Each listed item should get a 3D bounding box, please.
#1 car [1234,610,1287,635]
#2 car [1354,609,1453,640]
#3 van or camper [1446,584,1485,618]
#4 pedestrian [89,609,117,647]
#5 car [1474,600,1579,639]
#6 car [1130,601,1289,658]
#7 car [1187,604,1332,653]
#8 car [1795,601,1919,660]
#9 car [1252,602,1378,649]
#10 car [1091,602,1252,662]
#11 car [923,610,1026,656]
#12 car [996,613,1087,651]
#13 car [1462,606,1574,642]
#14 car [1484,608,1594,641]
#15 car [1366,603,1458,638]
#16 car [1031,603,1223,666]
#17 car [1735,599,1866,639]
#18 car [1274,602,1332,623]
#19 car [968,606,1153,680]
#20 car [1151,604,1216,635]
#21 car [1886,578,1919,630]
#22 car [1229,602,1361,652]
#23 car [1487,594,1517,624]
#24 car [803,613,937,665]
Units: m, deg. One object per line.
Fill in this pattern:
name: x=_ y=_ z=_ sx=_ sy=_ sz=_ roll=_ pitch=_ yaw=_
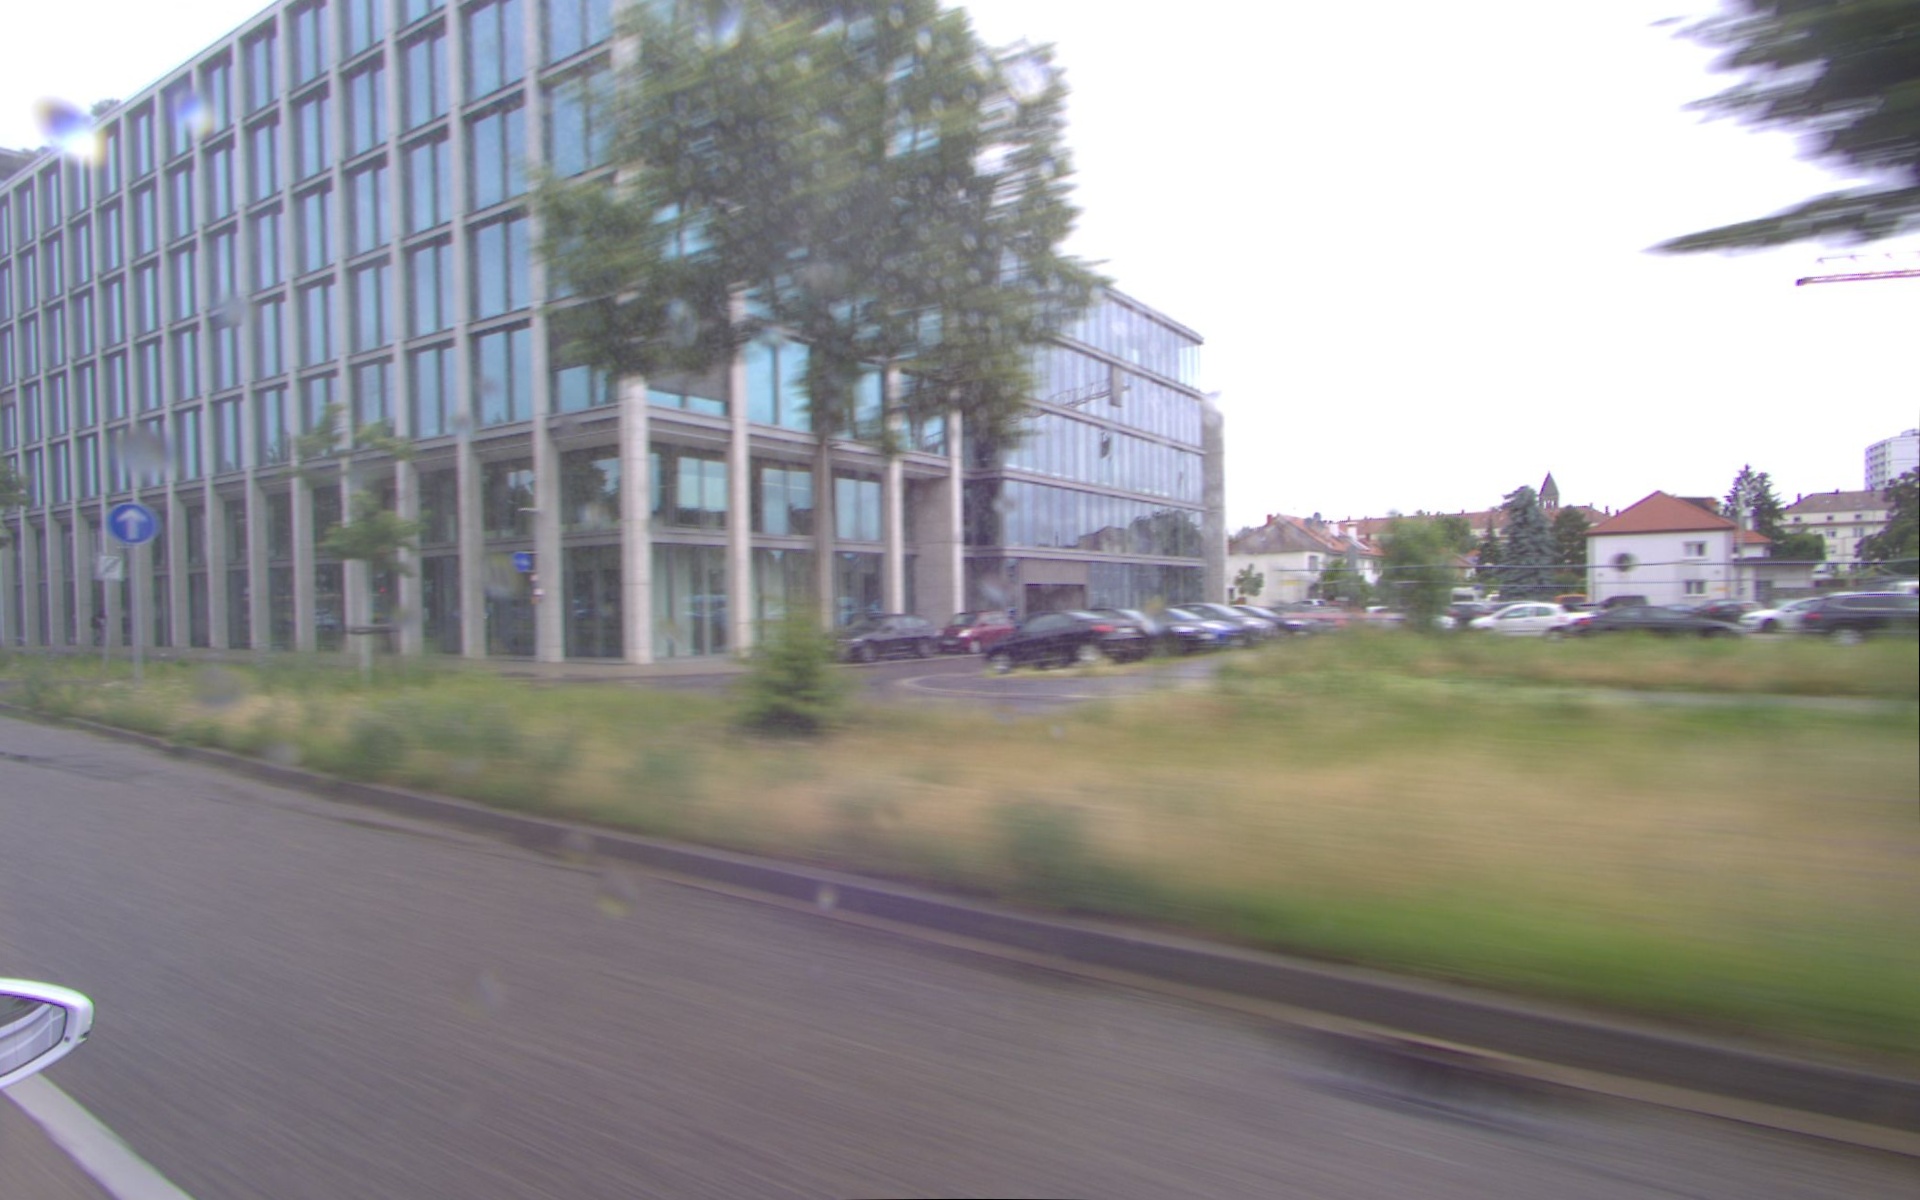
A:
car: x=18.141 y=1.340 z=60.404 sx=1.837 sy=1.435 sz=3.973 roll=-1 pitch=-1 yaw=36
car: x=20.078 y=1.100 z=45.385 sx=3.973 sy=1.370 sz=1.693 roll=-1 pitch=0 yaw=31
van or camper: x=40.777 y=0.145 z=80.737 sx=2.065 sy=2.618 sz=5.598 roll=-1 pitch=-1 yaw=35
pedestrian: x=-40.584 y=1.315 z=47.422 sx=0.848 sy=1.738 sz=0.715 roll=0 pitch=2 yaw=31
car: x=26.033 y=0.891 z=46.059 sx=3.984 sy=1.734 sz=1.689 roll=-1 pitch=0 yaw=40
car: x=7.597 y=0.870 z=30.646 sx=4.359 sy=1.622 sz=1.848 roll=-1 pitch=0 yaw=37
car: x=9.642 y=0.893 z=32.382 sx=4.176 sy=1.494 sz=1.779 roll=-1 pitch=-1 yaw=37
car: x=26.585 y=0.841 z=28.538 sx=4.179 sy=1.622 sz=1.848 roll=-1 pitch=0 yaw=37
car: x=12.869 y=0.908 z=36.352 sx=3.949 sy=1.622 sz=1.848 roll=-1 pitch=0 yaw=37
car: x=5.855 y=0.907 z=27.941 sx=3.951 sy=1.473 sz=1.848 roll=-4 pitch=-2 yaw=37
car: x=0.587 y=1.169 z=36.746 sx=1.835 sy=1.508 sz=3.975 roll=2 pitch=1 yaw=35
car: x=3.322 y=1.253 z=40.354 sx=1.837 sy=1.391 sz=3.973 roll=1 pitch=1 yaw=36
car: x=23.211 y=0.981 z=41.683 sx=3.975 sy=1.465 sz=1.692 roll=-1 pitch=0 yaw=33
car: x=24.969 y=1.036 z=43.216 sx=3.978 sy=1.370 sz=1.691 roll=-1 pitch=0 yaw=35
car: x=22.084 y=1.004 z=48.973 sx=3.971 sy=1.622 sz=1.853 roll=-1 pitch=0 yaw=29
car: x=4.195 y=0.839 z=25.457 sx=4.499 sy=1.474 sz=1.848 roll=-1 pitch=-1 yaw=37
car: x=34.896 y=0.796 z=41.714 sx=3.975 sy=1.602 sz=1.693 roll=-1 pitch=0 yaw=32
car: x=26.518 y=0.978 z=77.347 sx=3.942 sy=1.603 sz=1.852 roll=-1 pitch=0 yaw=31
car: x=2.302 y=0.948 z=23.393 sx=3.951 sy=1.601 sz=1.847 roll=-1 pitch=-1 yaw=39
car: x=11.460 y=0.965 z=51.209 sx=1.837 sy=1.457 sz=3.973 roll=1 pitch=0 yaw=36
car: x=39.308 y=0.144 z=39.308 sx=4.105 sy=2.032 sz=1.692 roll=-1 pitch=0 yaw=33
car: x=11.524 y=0.894 z=34.517 sx=3.949 sy=1.622 sz=1.848 roll=-1 pitch=0 yaw=37
car: x=52.768 y=0.904 z=97.468 sx=2.196 sy=2.817 sz=4.481 roll=-1 pitch=-2 yaw=33
car: x=-2.795 y=1.175 z=31.786 sx=1.955 sy=1.457 sz=4.204 roll=2 pitch=1 yaw=36
